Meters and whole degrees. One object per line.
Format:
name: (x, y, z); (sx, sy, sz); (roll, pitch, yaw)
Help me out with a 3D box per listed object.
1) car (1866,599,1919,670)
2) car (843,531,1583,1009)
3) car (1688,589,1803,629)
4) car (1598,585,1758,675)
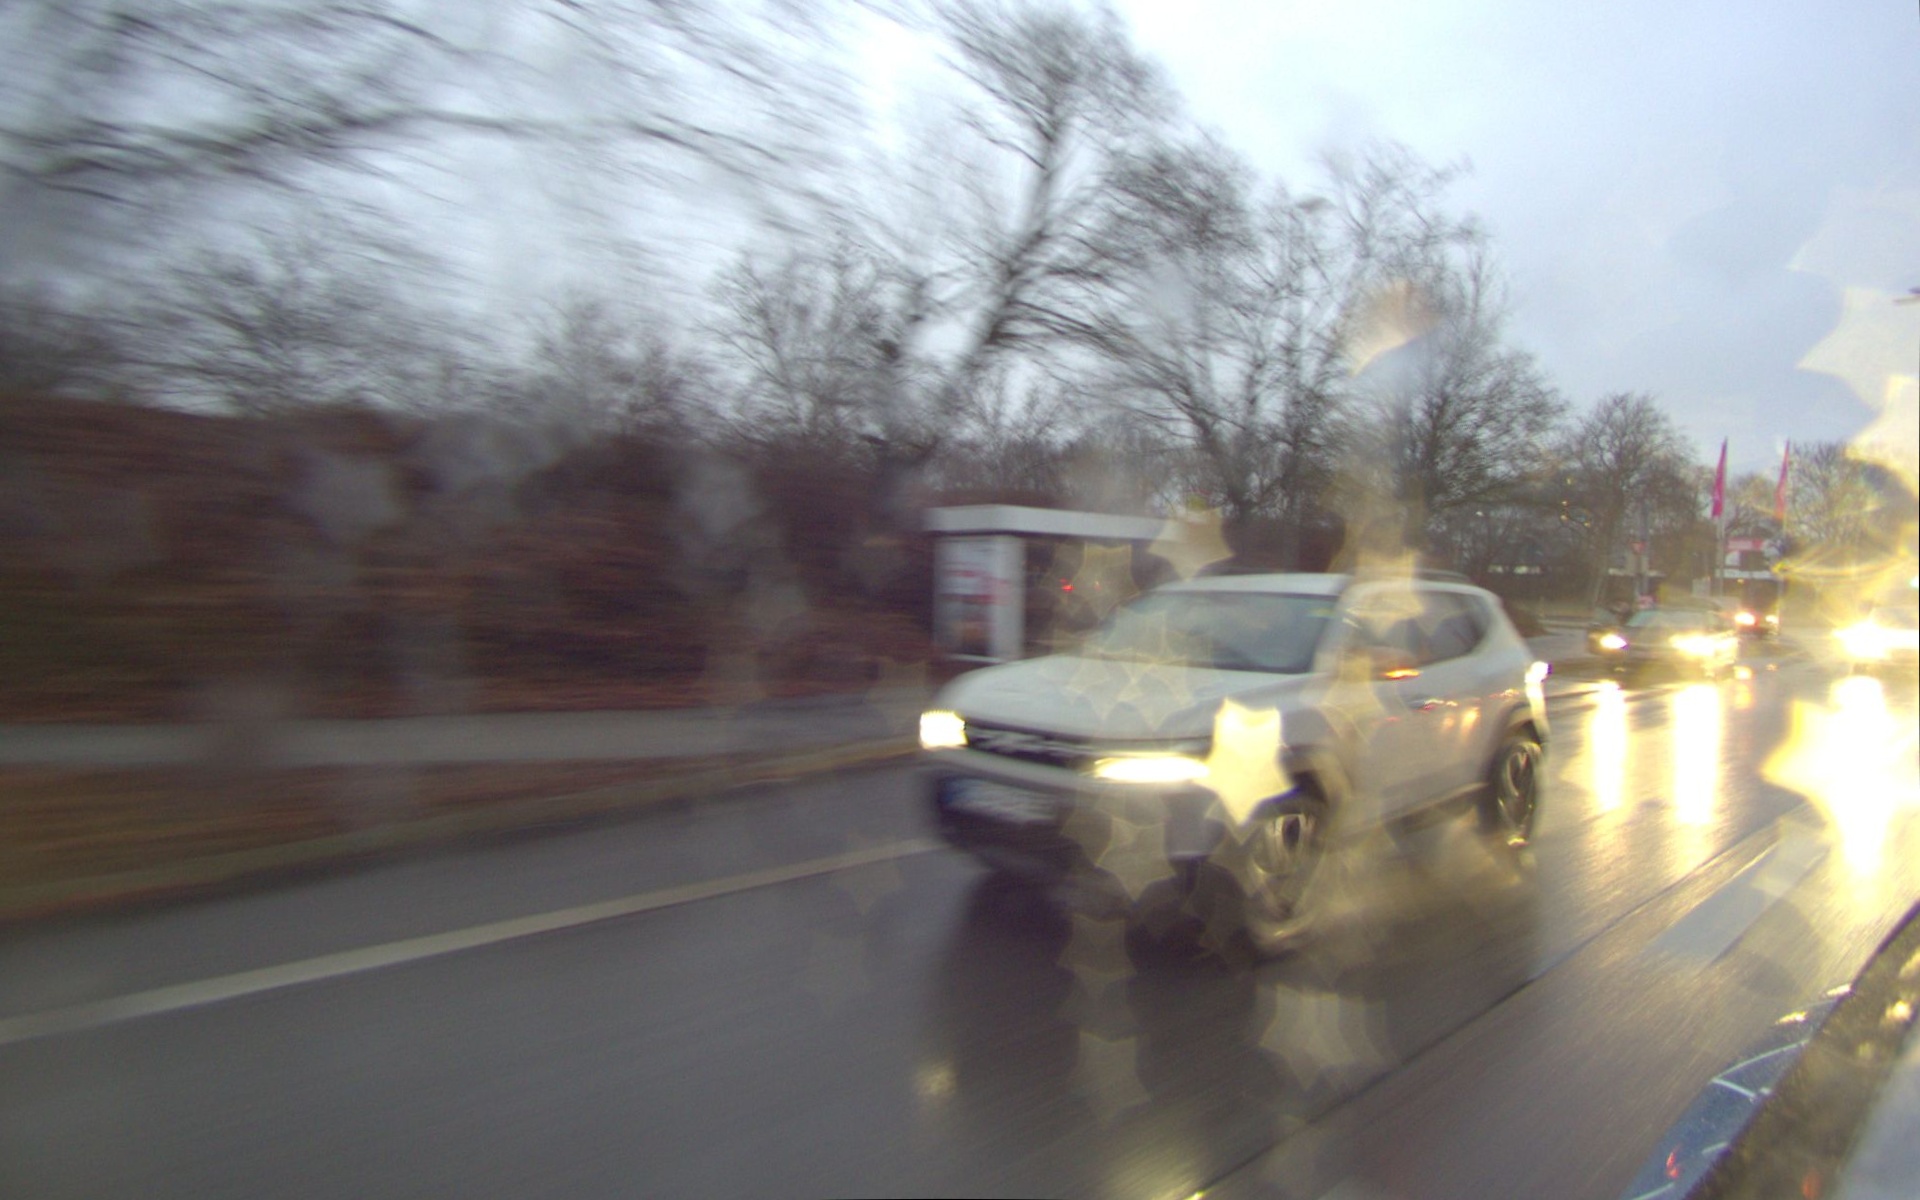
car: (21.589, 0.728, 22.569); (1.877, 1.393, 4.680); (2, 2, 44)
car: (1.665, 0.539, 5.583); (4.334, 1.638, 1.819); (-1, 2, -41)
car: (29.903, 0.308, 38.672); (1.610, 1.326, 3.992); (1, 2, 8)
car: (15.281, 0.544, 21.447); (4.473, 1.639, 1.969); (-1, 3, -44)
